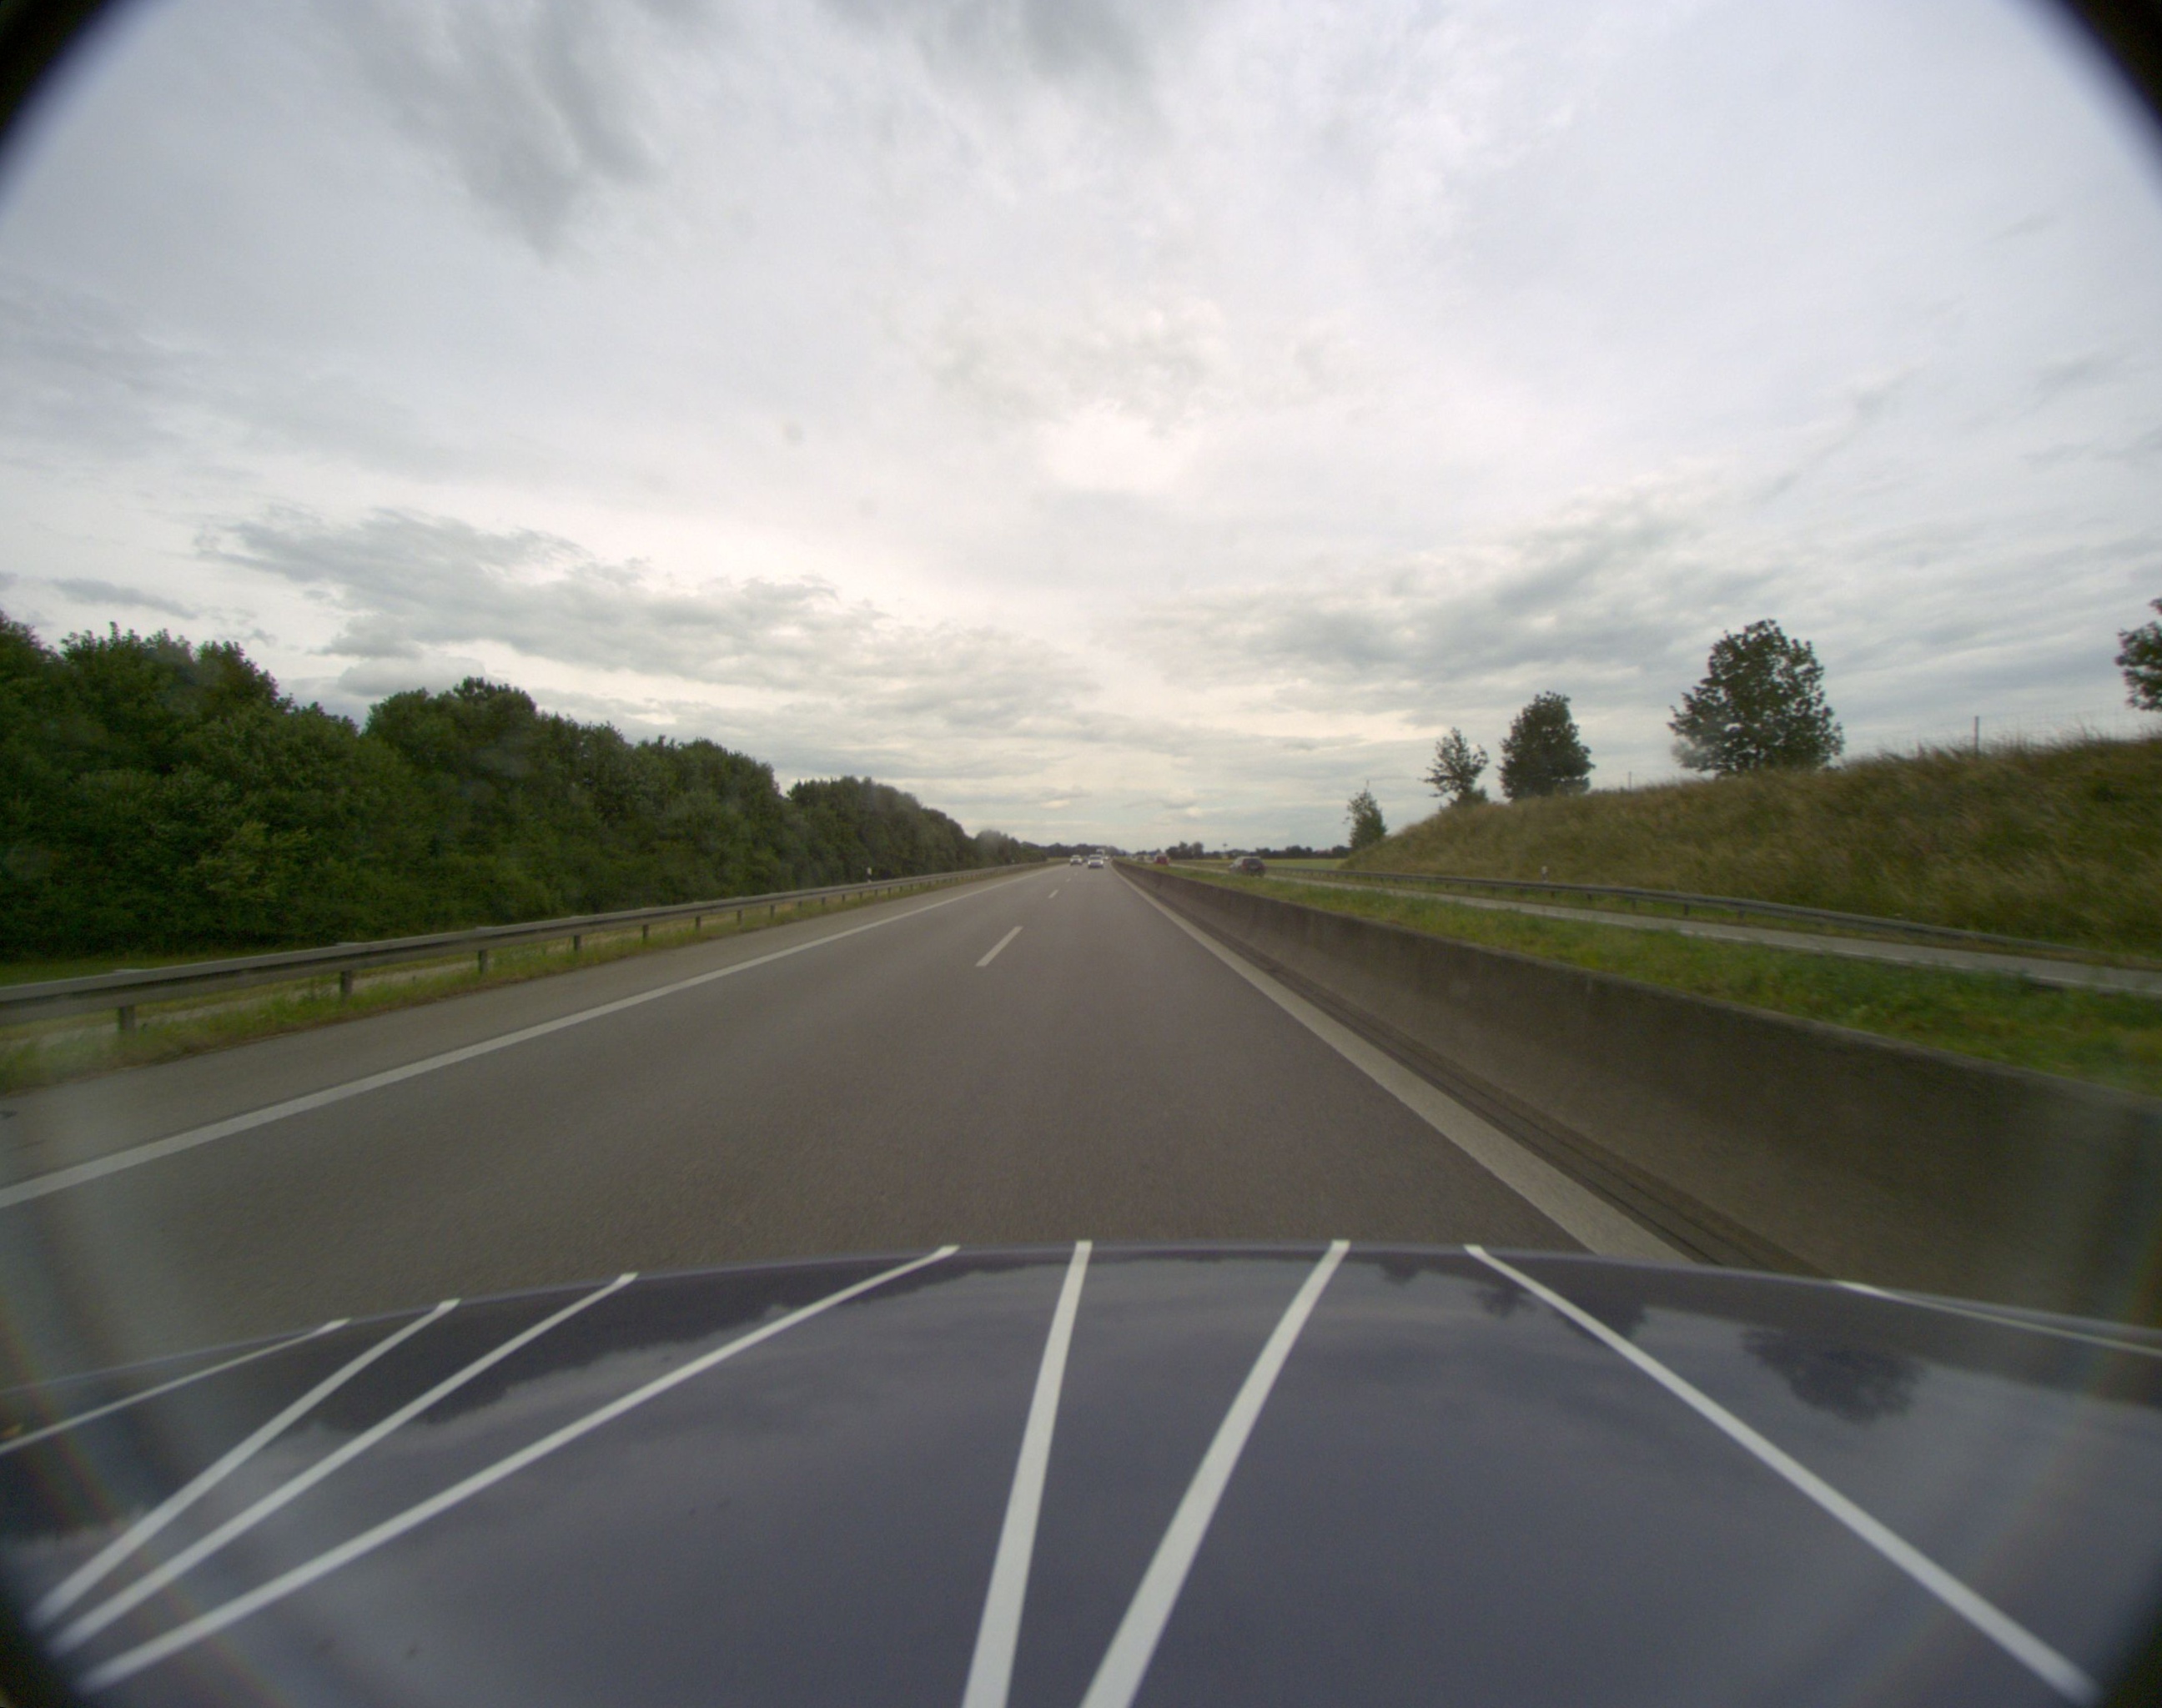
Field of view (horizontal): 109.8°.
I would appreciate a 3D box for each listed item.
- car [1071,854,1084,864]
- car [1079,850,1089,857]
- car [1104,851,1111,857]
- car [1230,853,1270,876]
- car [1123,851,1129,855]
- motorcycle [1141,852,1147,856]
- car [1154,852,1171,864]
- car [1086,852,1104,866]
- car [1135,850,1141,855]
[{"bbox_3d":[-0.567,0.746,126.255,1.915,1.553,4.288,-1,1,3],"label":"car"},{"bbox_3d":[0.698,-0.118,174.301,1.915,1.553,4.288,-1,1,3],"label":"car"},{"bbox_3d":[7.481,-0.050,215.468,1.915,1.553,4.288,-1,1,3],"label":"car"},{"bbox_3d":[11.765,0.718,53.153,1.850,1.488,4.580,1,0,1],"label":"car"},{"bbox_3d":[15.502,-0.313,260.361,1.870,1.565,4.693,0,0,1],"label":"car"},{"bbox_3d":[18.657,0.035,223.534,1.570,1.072,2.982,1,1,2],"label":"motorcycle"},{"bbox_3d":[10.644,0.499,99.242,1.850,1.562,4.361,1,0,1],"label":"car"},{"bbox_3d":[1.626,0.614,90.233,1.916,1.553,4.287,-1,1,-2],"label":"car"},{"bbox_3d":[19.148,-0.346,253.805,1.840,1.617,4.691,1,1,2],"label":"car"}]
